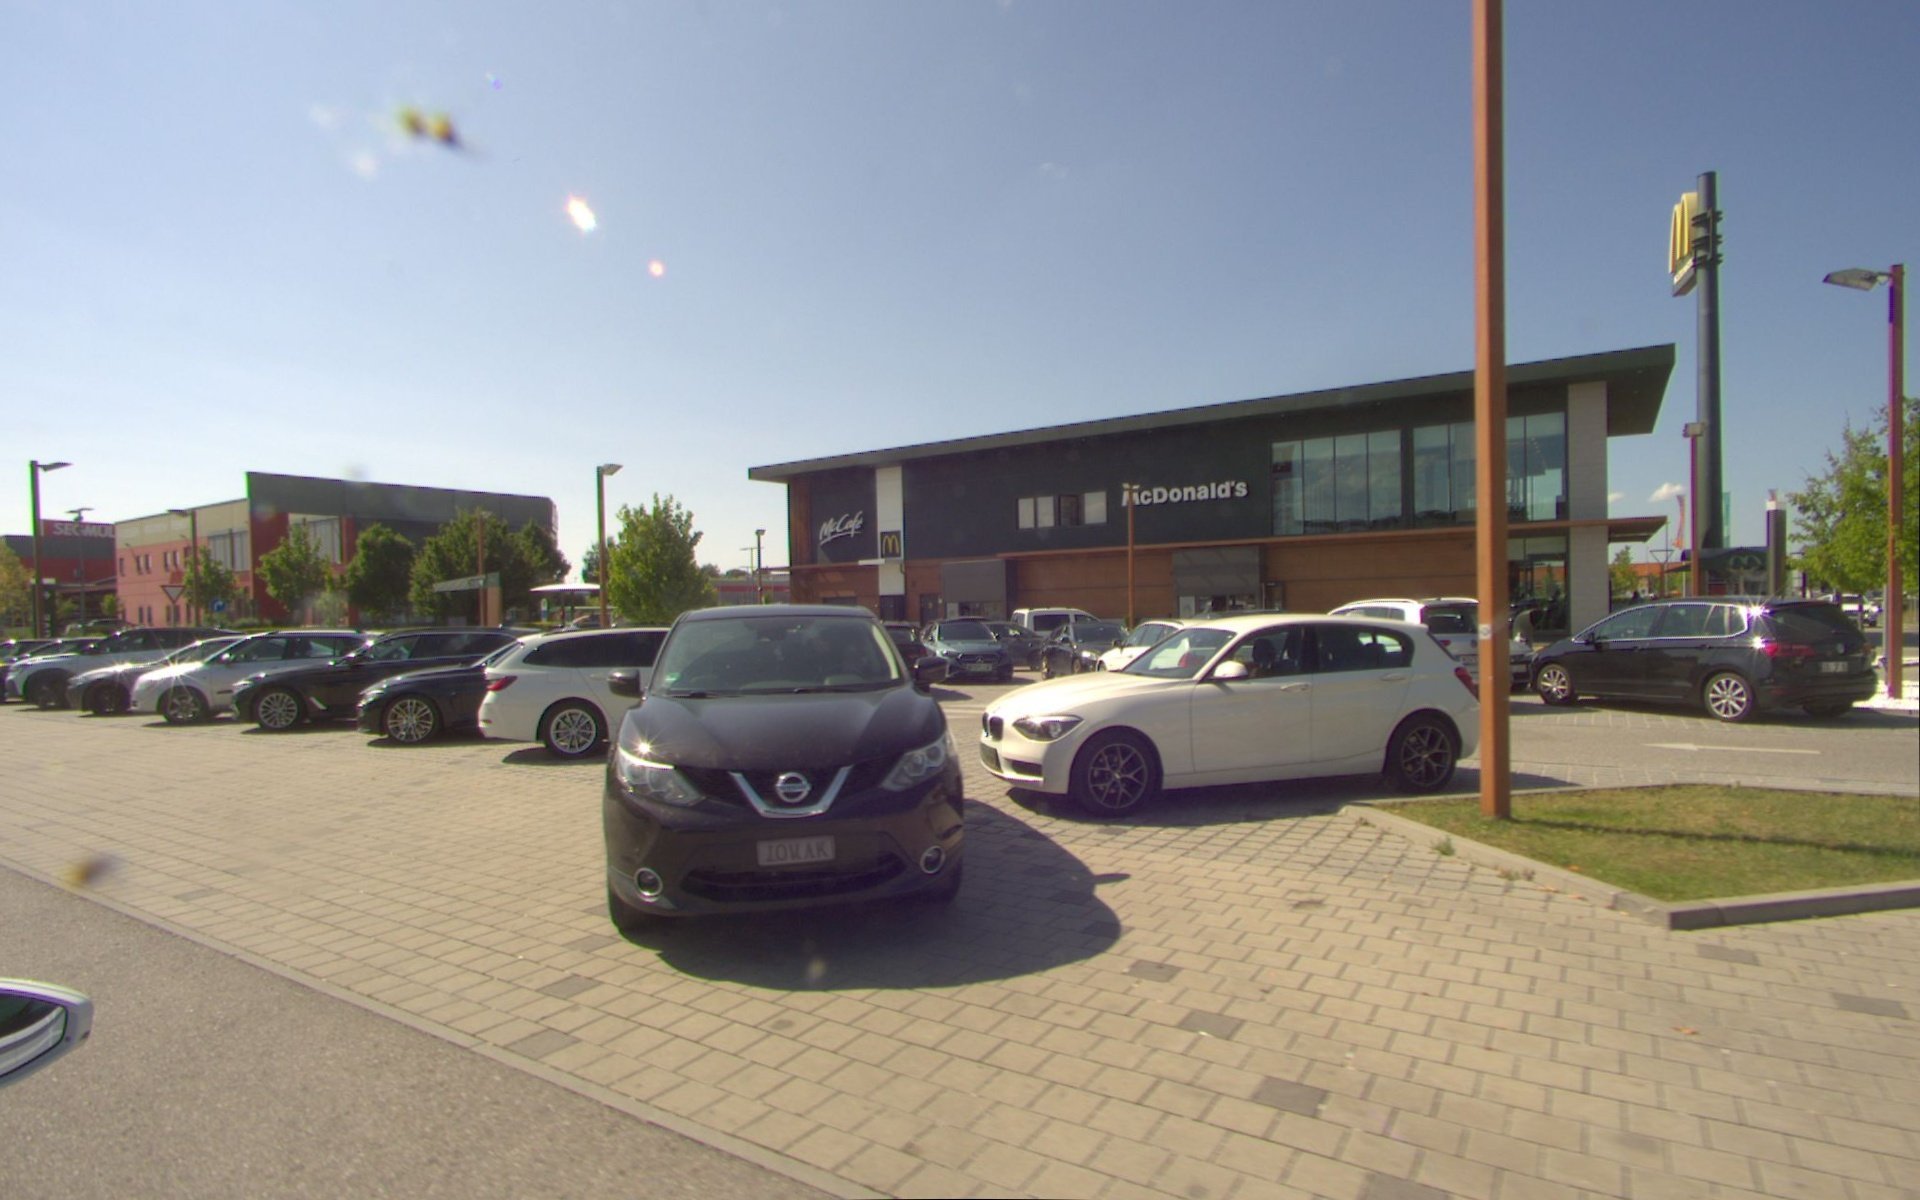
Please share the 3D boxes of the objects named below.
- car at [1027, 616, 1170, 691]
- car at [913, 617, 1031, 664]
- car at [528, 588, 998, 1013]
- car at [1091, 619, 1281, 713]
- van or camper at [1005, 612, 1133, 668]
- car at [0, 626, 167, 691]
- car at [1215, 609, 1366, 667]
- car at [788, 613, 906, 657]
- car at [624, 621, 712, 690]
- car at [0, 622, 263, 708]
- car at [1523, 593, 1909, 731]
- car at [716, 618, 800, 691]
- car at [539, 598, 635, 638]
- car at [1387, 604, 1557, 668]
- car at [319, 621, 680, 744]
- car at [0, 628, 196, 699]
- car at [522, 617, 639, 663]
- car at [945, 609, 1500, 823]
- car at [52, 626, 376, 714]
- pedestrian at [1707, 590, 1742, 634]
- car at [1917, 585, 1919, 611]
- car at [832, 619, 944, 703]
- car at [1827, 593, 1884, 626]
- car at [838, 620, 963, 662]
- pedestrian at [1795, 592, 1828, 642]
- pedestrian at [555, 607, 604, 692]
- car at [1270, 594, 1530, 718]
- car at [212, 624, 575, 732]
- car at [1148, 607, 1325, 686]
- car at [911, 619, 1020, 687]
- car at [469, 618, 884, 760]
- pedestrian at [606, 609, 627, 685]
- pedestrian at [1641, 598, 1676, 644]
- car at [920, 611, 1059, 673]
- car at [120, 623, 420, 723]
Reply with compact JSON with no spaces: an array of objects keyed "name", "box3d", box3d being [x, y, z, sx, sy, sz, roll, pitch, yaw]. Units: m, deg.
[{"name":"car","box3d":[3.045,1.159,23.086,1.860,1.506,4.642,-1,-1,-11]},{"name":"car","box3d":[0.419,1.407,35.872,3.881,1.535,1.711,-1,0,-18]},{"name":"car","box3d":[-1.150,0.781,6.100,1.822,1.612,4.300,0,0,-11]},{"name":"car","box3d":[3.843,1.077,17.827,1.779,1.431,4.112,-1,-1,-11]},{"name":"van or camper","box3d":[3.654,1.328,33.768,3.955,1.798,1.709,0,-1,-15]},{"name":"car","box3d":[-23.345,1.473,25.674,4.253,1.546,1.973,0,0,-13]},{"name":"car","box3d":[9.887,1.102,30.040,3.962,1.634,1.715,0,-1,-13]},{"name":"car","box3d":[-4.511,1.366,39.866,4.389,1.623,1.959,0,-1,-18]},{"name":"car","box3d":[-7.073,1.291,24.577,1.680,1.512,4.112,-1,-1,-11]},{"name":"car","box3d":[-17.917,1.348,21.890,4.143,1.676,1.967,0,-1,-28]},{"name":"car","box3d":[9.967,0.752,13.640,1.723,1.572,3.996,0,-1,-14]},{"name":"car","box3d":[-4.777,1.223,23.815,1.779,1.535,4.112,-1,-1,-11]},{"name":"car","box3d":[-21.711,1.060,58.440,1.973,2.225,5.077,-1,-1,34]},{"name":"car","box3d":[13.892,0.964,27.238,3.962,1.634,1.715,0,-1,-13]},{"name":"car","box3d":[-6.123,1.052,13.890,4.293,1.478,1.833,0,-1,-17]},{"name":"car","box3d":[-20.887,1.466,23.601,4.135,1.546,1.971,0,-1,-20]},{"name":"car","box3d":[-15.345,1.593,40.729,1.966,1.713,4.218,0,0,28]},{"name":"car","box3d":[2.107,0.843,8.521,4.130,1.478,1.973,0,-1,-14]},{"name":"car","box3d":[-14.606,1.320,19.976,4.762,1.546,1.971,0,-1,-19]},{"name":"pedestrian","box3d":[27.332,0.434,35.790,0.708,1.580,0.702,-1,0,4]},{"name":"car","box3d":[88.461,-0.207,89.450,3.941,2.333,1.991,-1,-1,31]},{"name":"car","box3d":[-1.597,1.168,20.607,1.779,1.506,4.277,-1,-1,-11]},{"name":"car","box3d":[45.019,0.499,50.412,1.741,1.582,3.858,-1,-1,36]},{"name":"car","box3d":[-2.271,1.533,38.014,4.392,1.484,1.958,0,-1,-21]},{"name":"pedestrian","box3d":[27.052,0.539,31.808,0.692,1.580,0.718,-1,0,34]},{"name":"pedestrian","box3d":[-8.610,1.095,22.658,0.763,1.874,0.826,0,0,-43]},{"name":"car","box3d":[6.842,0.821,16.106,1.779,1.696,4.112,-1,-1,-11]},{"name":"car","box3d":[-8.813,1.161,16.068,4.697,1.506,1.973,0,-1,-15]},{"name":"car","box3d":[5.875,0.954,21.973,1.860,1.506,4.642,-1,-1,-11]},{"name":"car","box3d":[0.018,1.252,25.248,1.860,1.506,4.642,-1,-1,-11]},{"name":"car","box3d":[-3.317,0.988,12.224,4.501,1.478,1.834,0,-1,-15]},{"name":"pedestrian","box3d":[-8.293,1.121,24.172,0.459,1.792,0.551,-1,0,-19]},{"name":"pedestrian","box3d":[24.312,0.719,34.870,0.708,1.580,0.702,-1,0,4]},{"name":"car","box3d":[0.886,1.252,30.495,3.897,1.798,1.647,-1,-1,28]},{"name":"car","box3d":[-11.976,1.204,17.780,4.143,1.546,1.967,0,-1,-28]}]
